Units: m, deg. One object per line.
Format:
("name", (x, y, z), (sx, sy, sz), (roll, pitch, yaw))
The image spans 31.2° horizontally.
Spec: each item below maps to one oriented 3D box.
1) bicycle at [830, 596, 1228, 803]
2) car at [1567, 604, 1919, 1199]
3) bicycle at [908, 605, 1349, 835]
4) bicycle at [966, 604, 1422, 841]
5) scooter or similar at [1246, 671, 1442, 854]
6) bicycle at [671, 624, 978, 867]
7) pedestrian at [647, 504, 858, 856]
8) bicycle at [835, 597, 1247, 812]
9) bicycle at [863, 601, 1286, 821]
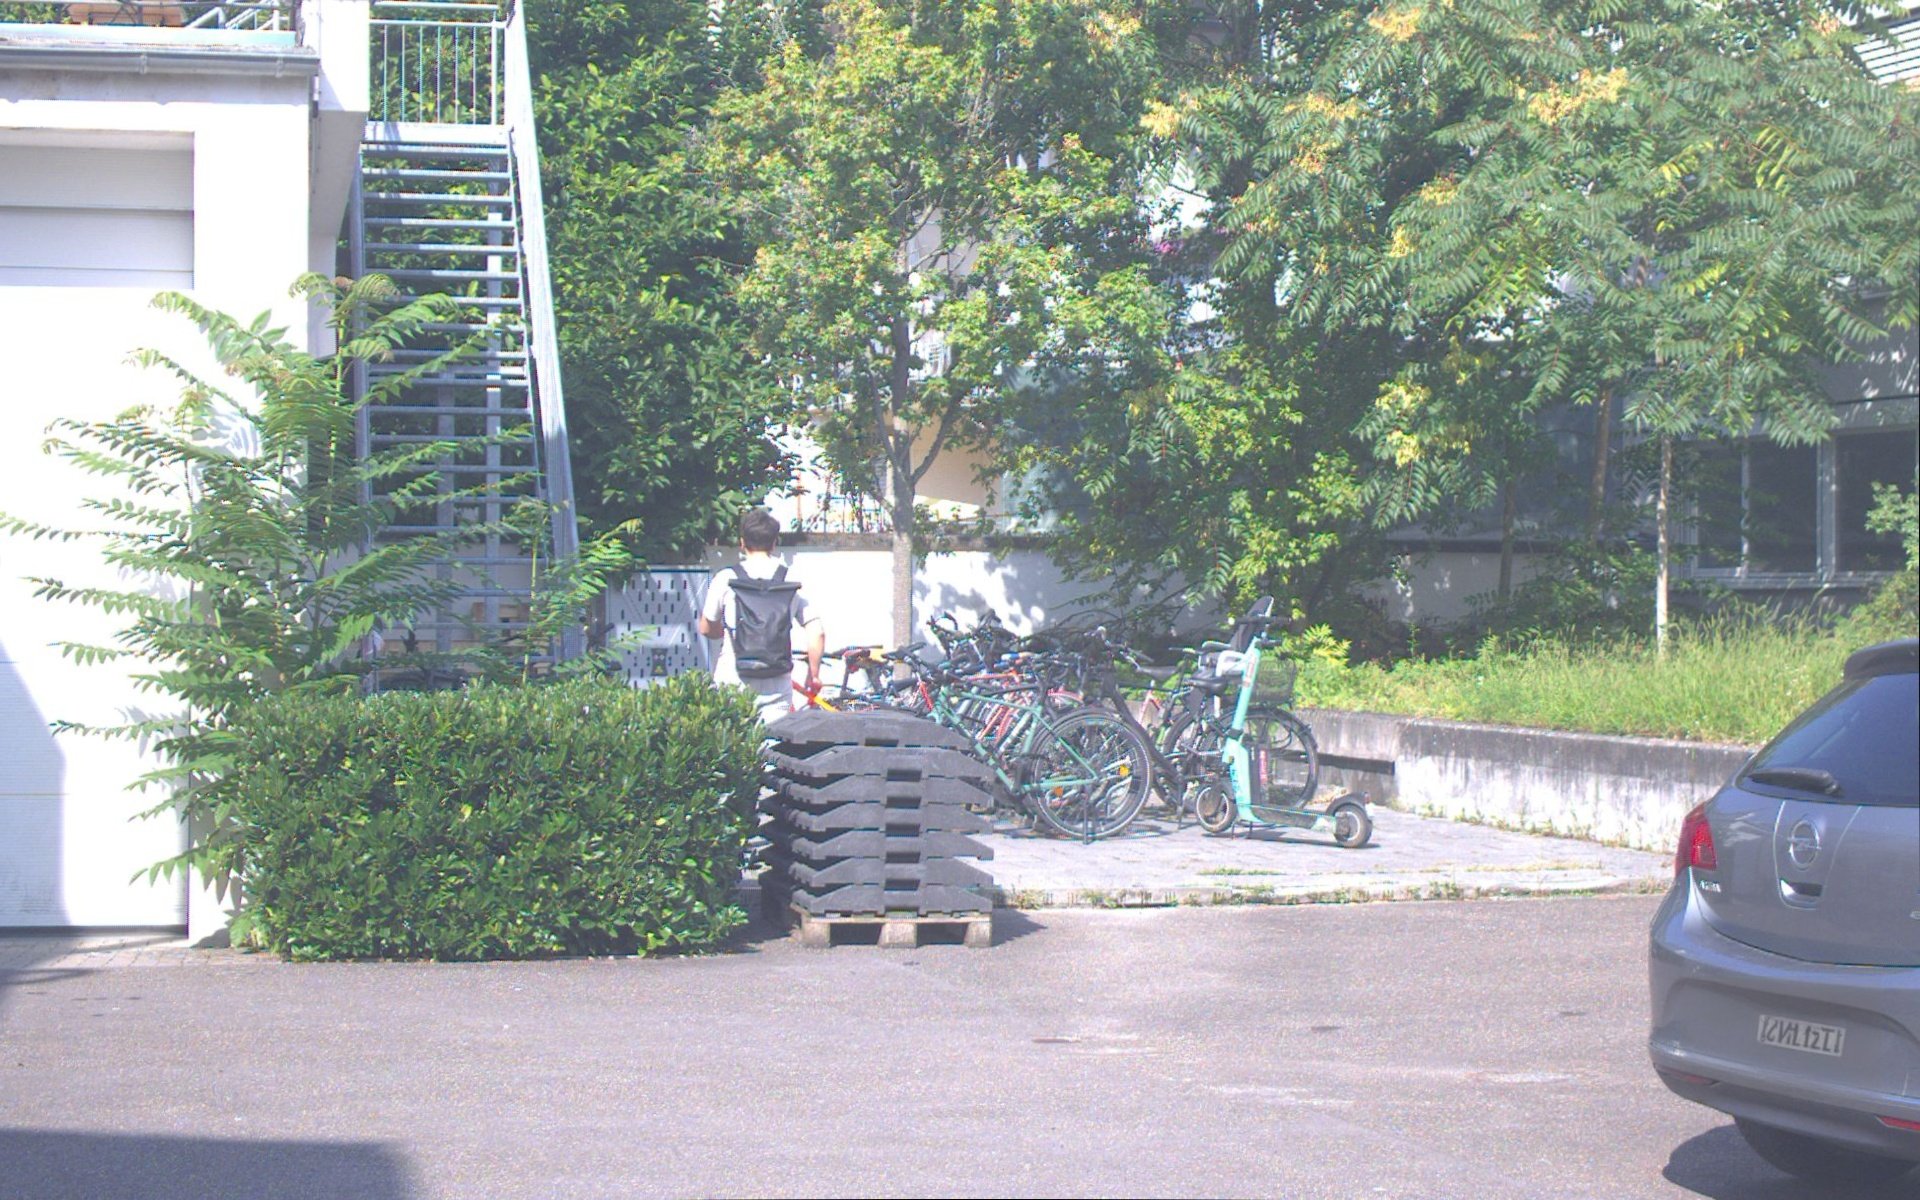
("bicycle", (0.429, 0.622, 21.527), (2.410, 1.242, 0.526), (1, 0, -11))
("car", (3.589, 0.752, 8.375), (3.895, 1.461, 1.663), (0, 1, -25))
("bicycle", (0.953, 0.678, 19.461), (2.410, 1.242, 0.526), (1, 0, -11))
("bicycle", (1.282, 0.668, 18.842), (2.410, 1.242, 0.526), (1, 0, -11))
("scooter or similar", (2.055, 0.860, 18.429), (0.998, 0.921, 0.359), (1, 0, 41))
("bicycle", (-0.728, 0.720, 17.781), (0.488, 1.140, 1.993), (-1, 1, -39))
("pedestrian", (-1.069, 0.401, 17.766), (0.858, 1.765, 0.611), (1, 0, -41))
("bicycle", (0.487, 0.632, 20.809), (2.410, 1.242, 0.526), (1, 0, -11))
("bicycle", (0.674, 0.653, 20.266), (2.410, 1.242, 0.526), (1, 0, -11))
